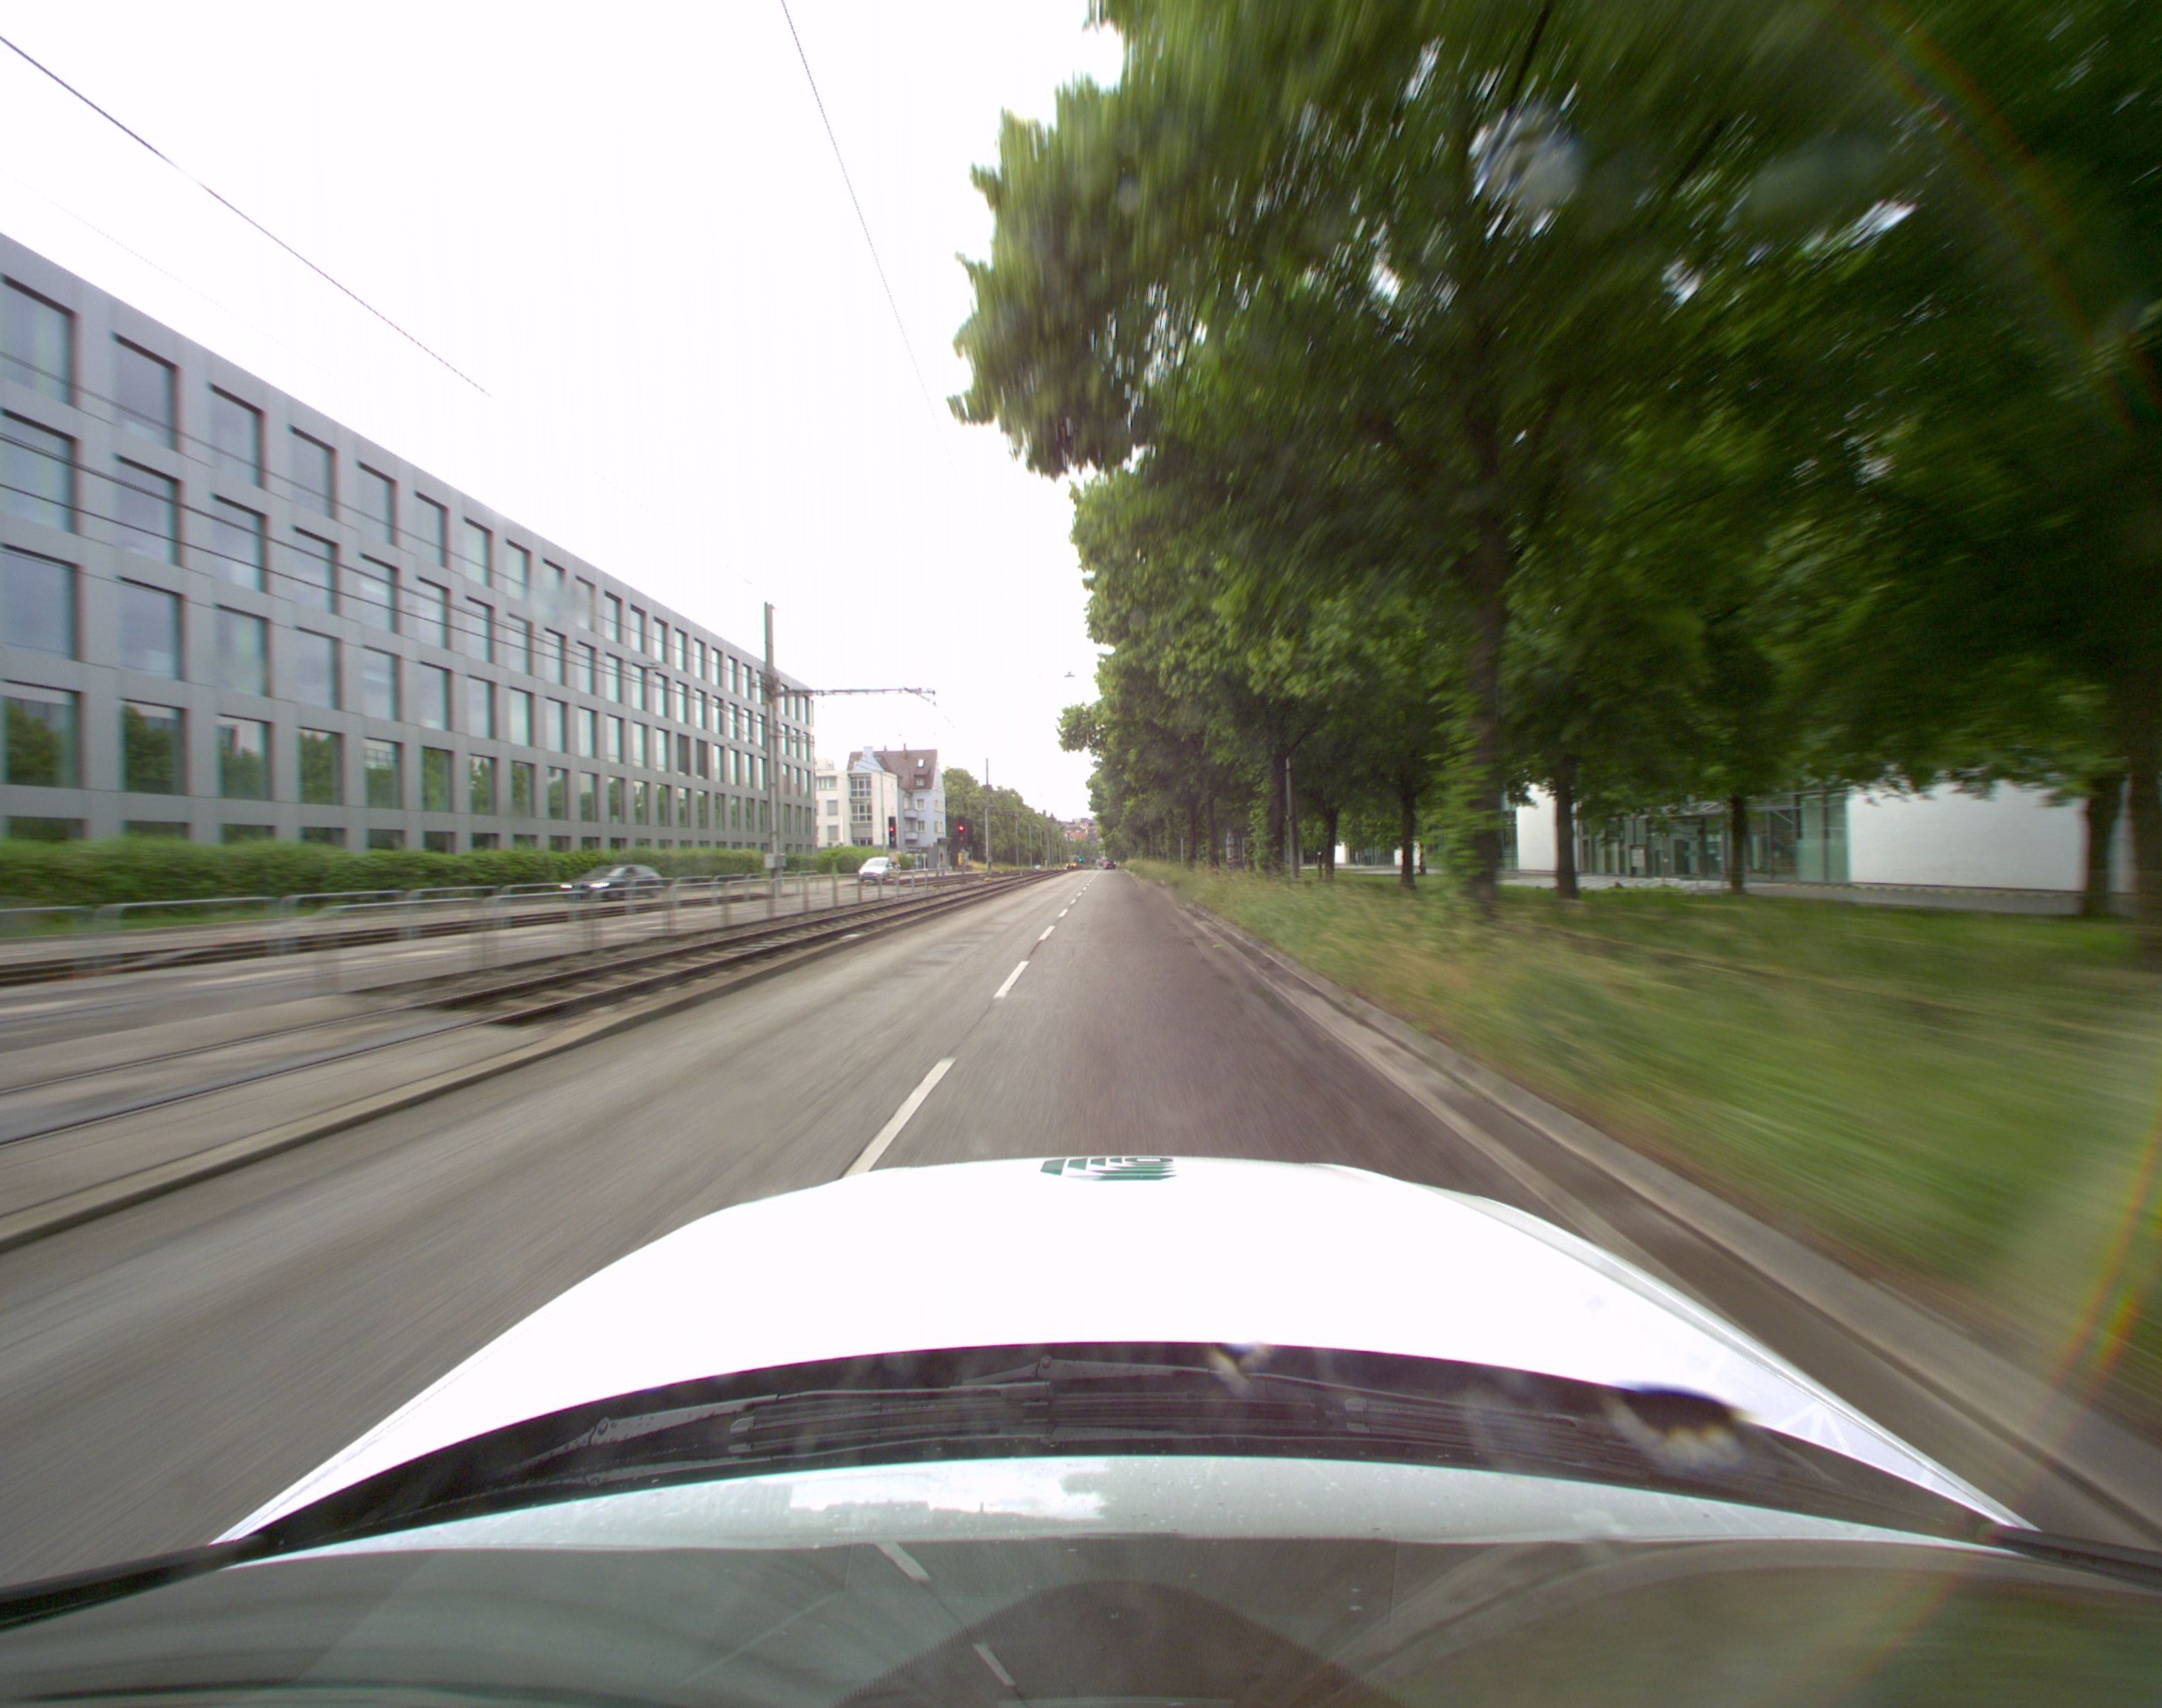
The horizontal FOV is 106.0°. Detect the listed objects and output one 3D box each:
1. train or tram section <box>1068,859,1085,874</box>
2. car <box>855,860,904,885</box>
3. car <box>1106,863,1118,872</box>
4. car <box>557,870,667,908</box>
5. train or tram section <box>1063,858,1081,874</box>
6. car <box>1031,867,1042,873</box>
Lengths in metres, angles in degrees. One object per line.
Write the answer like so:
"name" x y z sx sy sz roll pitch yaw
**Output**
"train or tram section" -1.128 3.327 216.552 3.200 3.797 14.801 -2 -1 3
"car" -14.062 1.262 57.012 1.894 1.645 4.888 -2 -1 3
"car" 5.088 2.199 132.968 1.974 1.440 4.476 -2 -1 2
"car" -18.708 1.365 32.712 1.791 1.347 4.261 -2 -1 2
"train or tram section" -2.078 3.026 201.759 3.200 3.797 14.801 -2 -1 3
"car" -9.735 3.553 178.648 1.894 1.325 4.830 -2 -1 3
